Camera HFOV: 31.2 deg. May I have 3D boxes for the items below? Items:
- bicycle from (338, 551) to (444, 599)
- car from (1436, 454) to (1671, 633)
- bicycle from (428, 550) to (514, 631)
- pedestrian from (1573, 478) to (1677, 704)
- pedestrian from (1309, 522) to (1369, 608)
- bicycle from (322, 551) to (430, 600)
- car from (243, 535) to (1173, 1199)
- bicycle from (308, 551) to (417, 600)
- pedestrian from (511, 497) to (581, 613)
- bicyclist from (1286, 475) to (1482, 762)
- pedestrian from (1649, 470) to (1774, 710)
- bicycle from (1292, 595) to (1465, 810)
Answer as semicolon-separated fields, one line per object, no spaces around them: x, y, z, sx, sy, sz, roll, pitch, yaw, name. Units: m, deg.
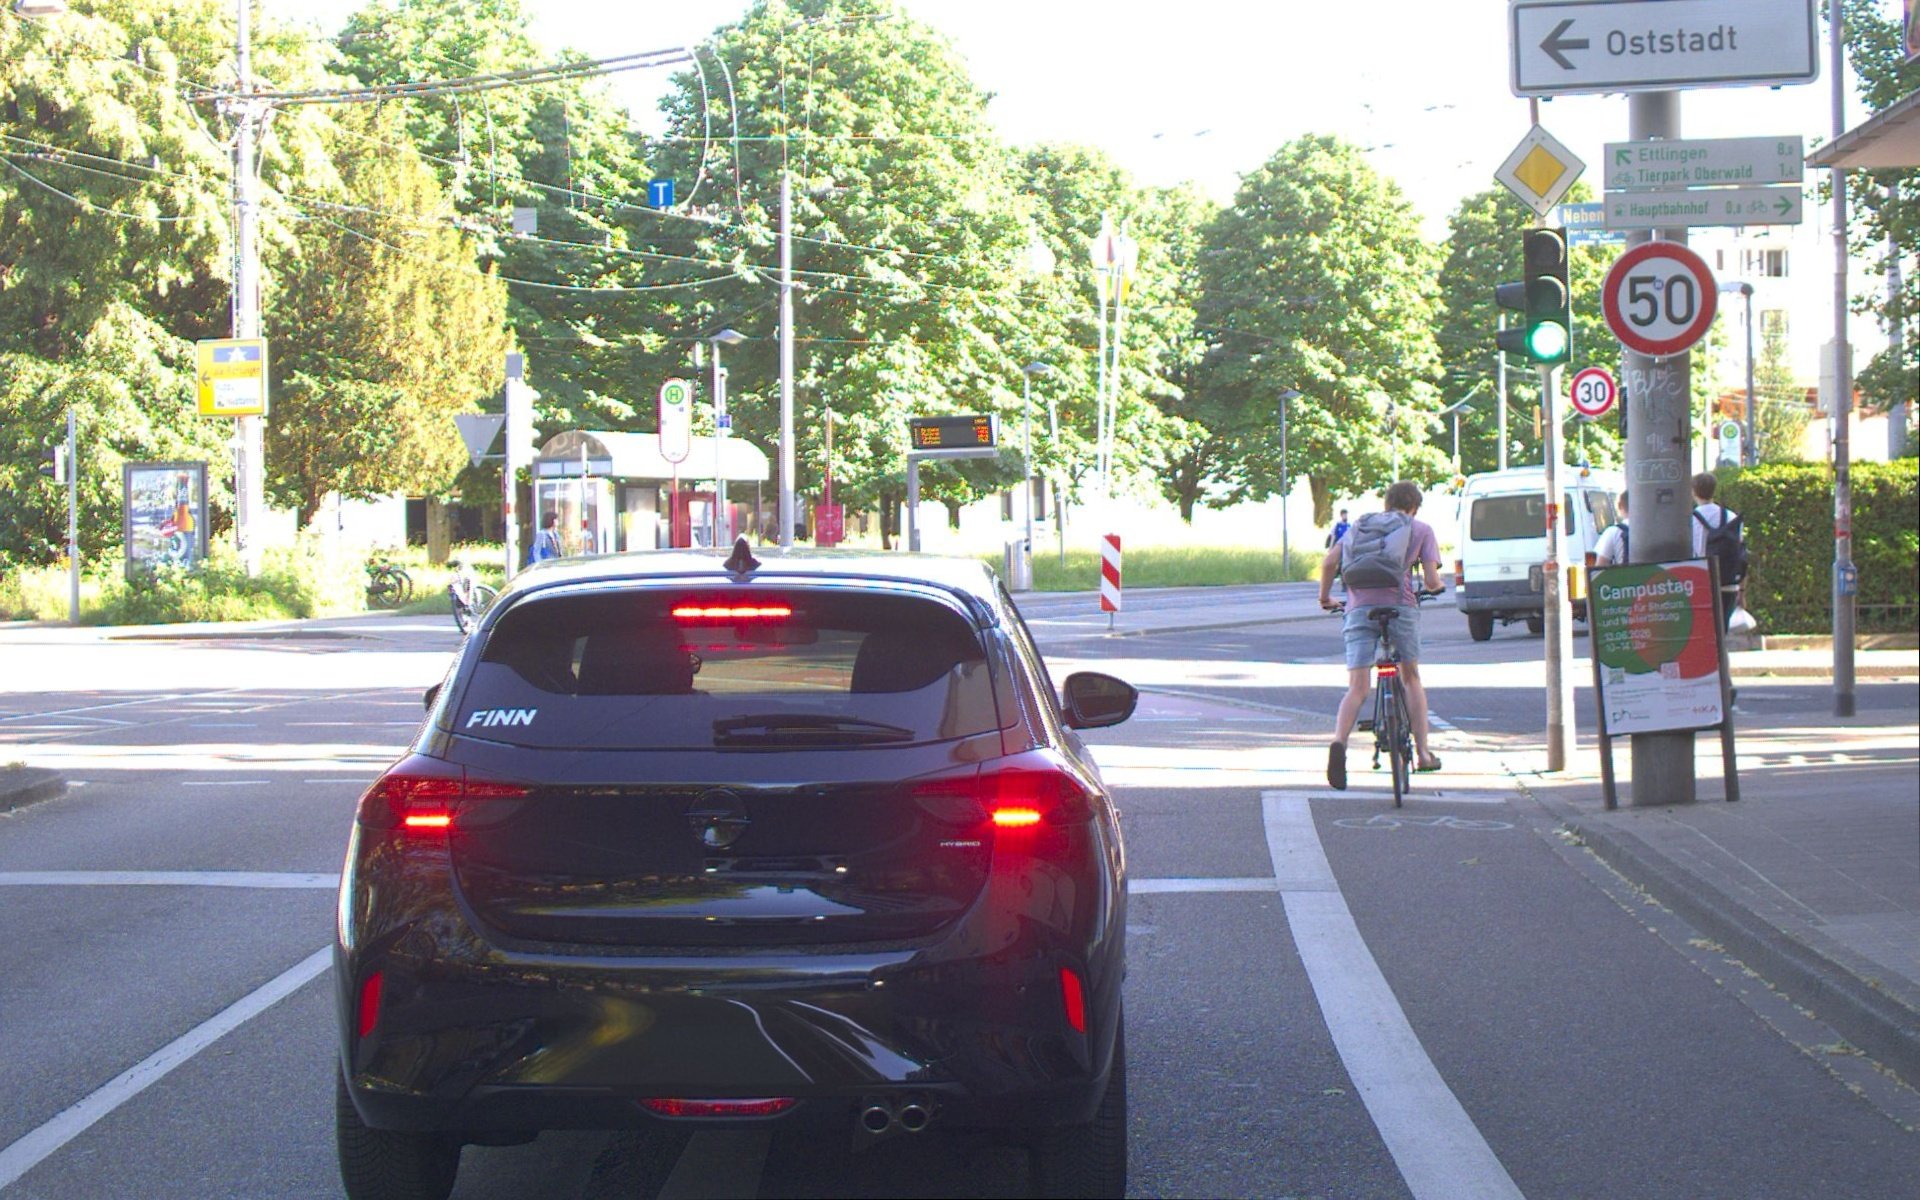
-10.861;-0.484;65.653;1.877;0.903;0.659;0;1;7;bicycle
7.989;-0.740;45.985;2.092;2.270;4.300;1;1;24;car
-6.620;-0.143;46.593;0.825;1.056;1.883;0;1;2;bicycle
5.333;-0.075;27.590;0.698;1.786;0.617;-1;1;-1;pedestrian
7.896;-0.733;71.549;0.959;1.786;0.994;0;1;25;pedestrian
-11.000;-0.469;64.782;1.877;0.903;0.659;0;1;7;bicycle
-0.459;0.573;8.670;1.800;1.436;3.940;-1;1;1;car
-11.085;-0.456;63.797;1.877;0.903;0.659;0;1;7;bicycle
-6.065;-0.664;50.352;0.727;1.687;0.699;1;2;41;pedestrian
2.294;0.080;18.742;0.840;1.504;1.369;0;1;-2;bicyclist
5.872;-0.088;26.862;0.704;1.840;0.699;0;2;39;pedestrian
2.264;0.528;18.814;0.667;1.056;2.082;0;1;-1;bicycle
